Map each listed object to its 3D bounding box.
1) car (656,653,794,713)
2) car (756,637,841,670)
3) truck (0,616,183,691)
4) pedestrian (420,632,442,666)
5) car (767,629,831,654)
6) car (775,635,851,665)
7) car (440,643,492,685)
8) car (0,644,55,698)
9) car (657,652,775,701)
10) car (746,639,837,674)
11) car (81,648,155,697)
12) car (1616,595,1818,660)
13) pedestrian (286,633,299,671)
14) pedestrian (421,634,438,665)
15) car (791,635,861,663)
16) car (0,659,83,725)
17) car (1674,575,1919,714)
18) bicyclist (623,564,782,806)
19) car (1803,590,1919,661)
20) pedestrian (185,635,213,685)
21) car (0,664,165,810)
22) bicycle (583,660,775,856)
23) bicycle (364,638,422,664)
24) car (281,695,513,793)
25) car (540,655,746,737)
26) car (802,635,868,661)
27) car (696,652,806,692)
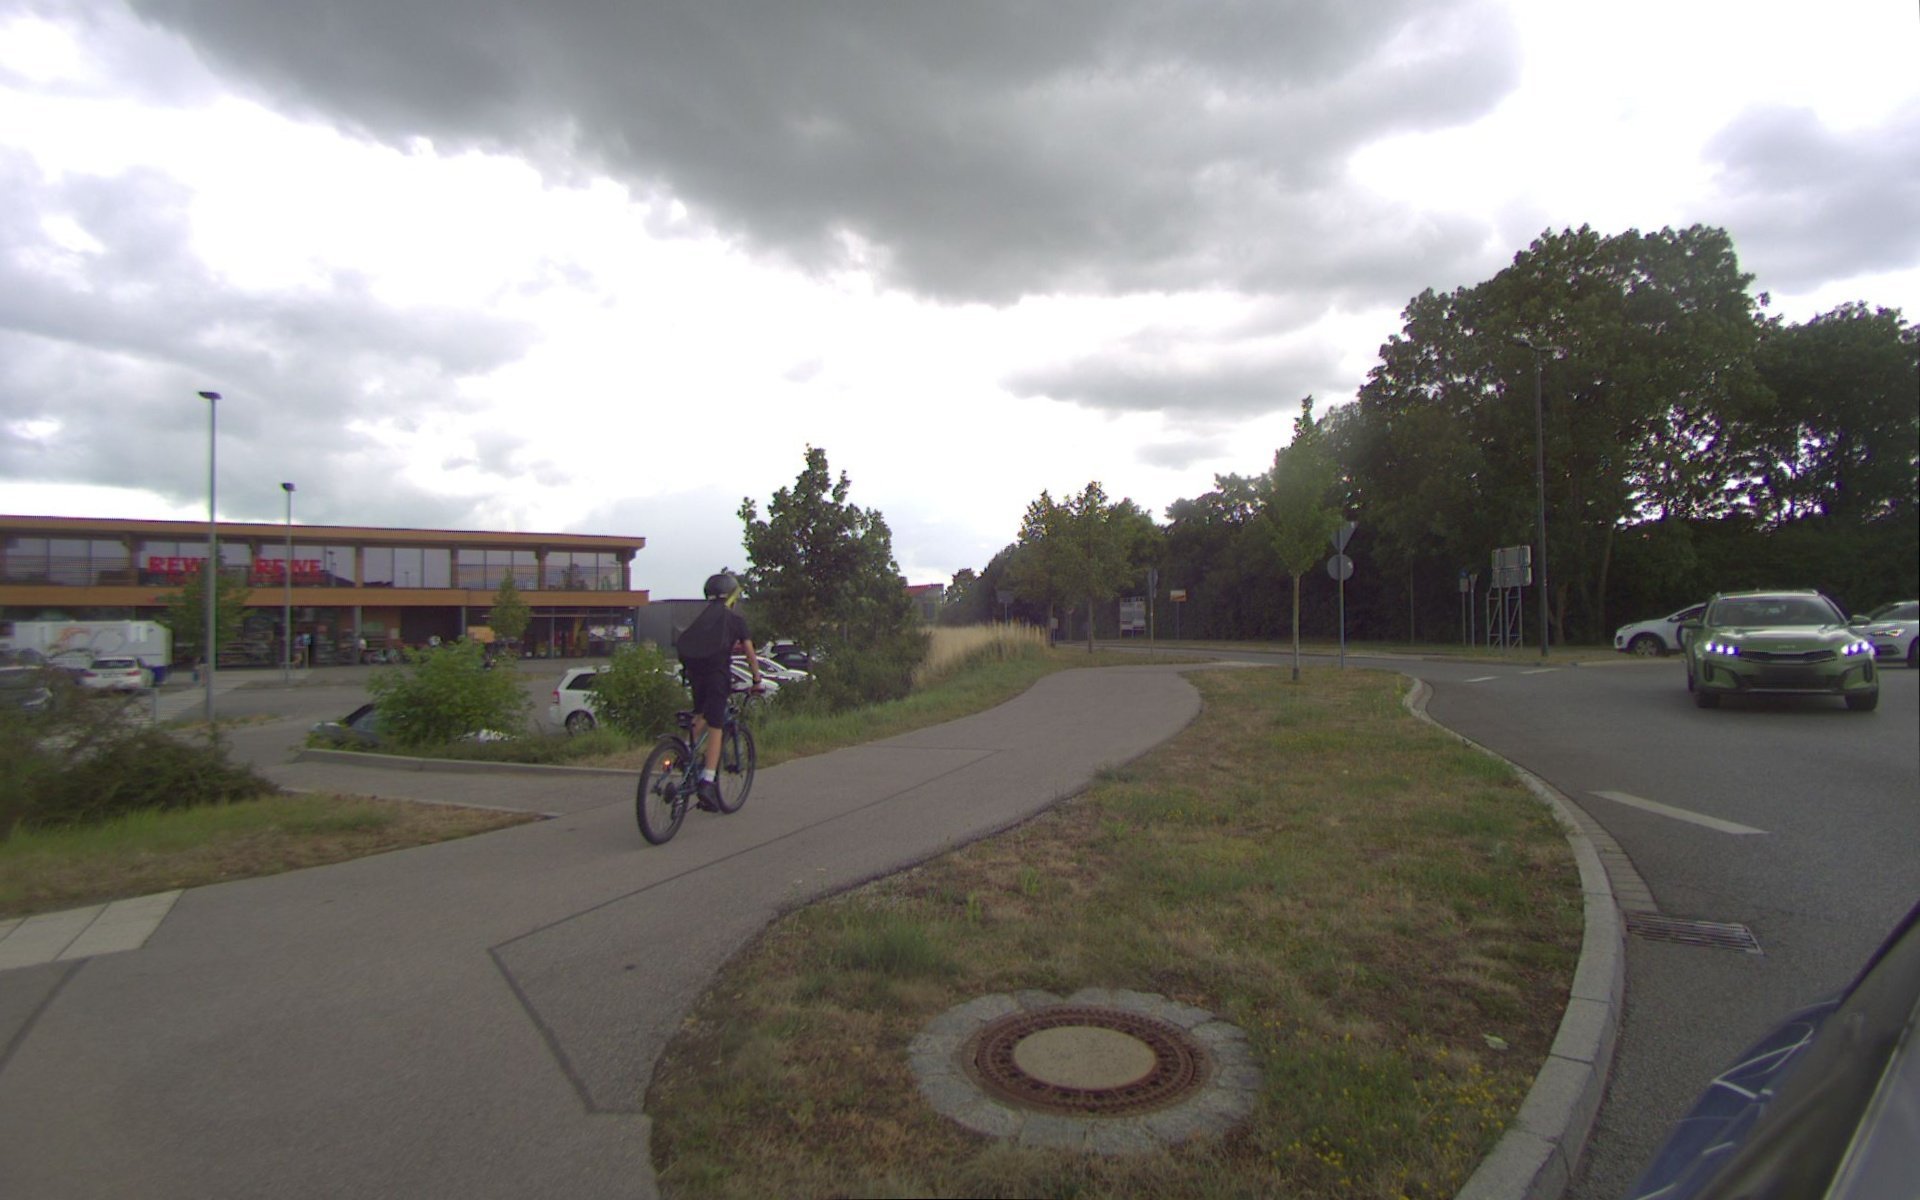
[{"bbox_3d":[-7.060,2.469,30.687,3.918,1.527,2.003,-2,-1,-10],"label":"car"},{"bbox_3d":[-7.741,2.578,48.793,3.817,1.483,1.696,-1,-1,2],"label":"car"},{"bbox_3d":[-36.694,2.161,41.797,7.118,2.843,2.976,0,-1,-34],"label":"truck"},{"bbox_3d":[-31.156,2.887,59.632,0.790,1.923,0.914,-5,-4,42],"label":"pedestrian"},{"bbox_3d":[-10.454,2.681,65.558,3.916,1.462,1.887,-1,-1,-13],"label":"car"},{"bbox_3d":[-7.909,2.689,54.764,3.817,1.483,1.696,-1,-1,2],"label":"car"},{"bbox_3d":[-20.997,2.660,42.970,1.682,1.588,3.672,0,-1,-31],"label":"car"},{"bbox_3d":[-33.471,2.480,35.422,1.815,1.747,4.123,-2,-1,-30],"label":"car"},{"bbox_3d":[-7.856,2.440,32.753,3.600,1.311,1.719,-2,-1,-12],"label":"car"},{"bbox_3d":[-7.542,2.525,45.523,3.817,1.483,1.696,-1,-1,2],"label":"car"},{"bbox_3d":[-30.935,2.628,37.271,1.698,1.549,4.000,0,-1,-34],"label":"car"},{"bbox_3d":[20.632,0.770,27.773,4.248,1.623,1.901,-3,-2,37],"label":"car"},{"bbox_3d":[-35.618,2.781,54.009,0.515,1.974,0.579,0,-1,-30],"label":"pedestrian"},{"bbox_3d":[-29.082,2.698,55.484,0.789,1.679,0.751,0,-1,-30],"label":"pedestrian"},{"bbox_3d":[-7.786,2.840,58.835,3.817,1.483,1.696,-1,-1,2],"label":"car"},{"bbox_3d":[-25.631,2.484,27.922,1.698,1.573,3.999,0,-1,-34],"label":"car"},{"bbox_3d":[11.173,0.480,13.786,1.910,1.521,4.829,-3,0,31],"label":"car"},{"bbox_3d":[-1.653,0.512,6.613,0.713,1.465,0.866,0,0,10],"label":"bicyclist"},{"bbox_3d":[19.867,0.511,20.600,4.185,1.344,1.929,0,-1,-11],"label":"car"},{"bbox_3d":[-31.977,2.514,42.523,0.914,2.039,0.806,0,-1,-34],"label":"pedestrian"},{"bbox_3d":[-9.776,1.331,10.096,3.719,1.223,1.563,-4,-3,28],"label":"car"},{"bbox_3d":[-1.725,0.927,6.478,0.489,0.958,1.708,0,0,10],"label":"bicycle"},{"bbox_3d":[-31.863,2.864,56.862,2.813,1.326,0.980,-1,-1,-31],"label":"bicycle"},{"bbox_3d":[-9.565,2.373,17.176,3.690,1.390,1.568,-2,-2,24],"label":"car"},{"bbox_3d":[-7.480,2.271,24.214,4.357,1.694,1.801,1,0,-3],"label":"car"},{"bbox_3d":[-7.740,2.980,62.787,3.817,1.483,1.696,-1,-1,2],"label":"car"},{"bbox_3d":[-7.462,2.564,36.279,3.608,1.311,1.415,-1,-1,2],"label":"car"}]
